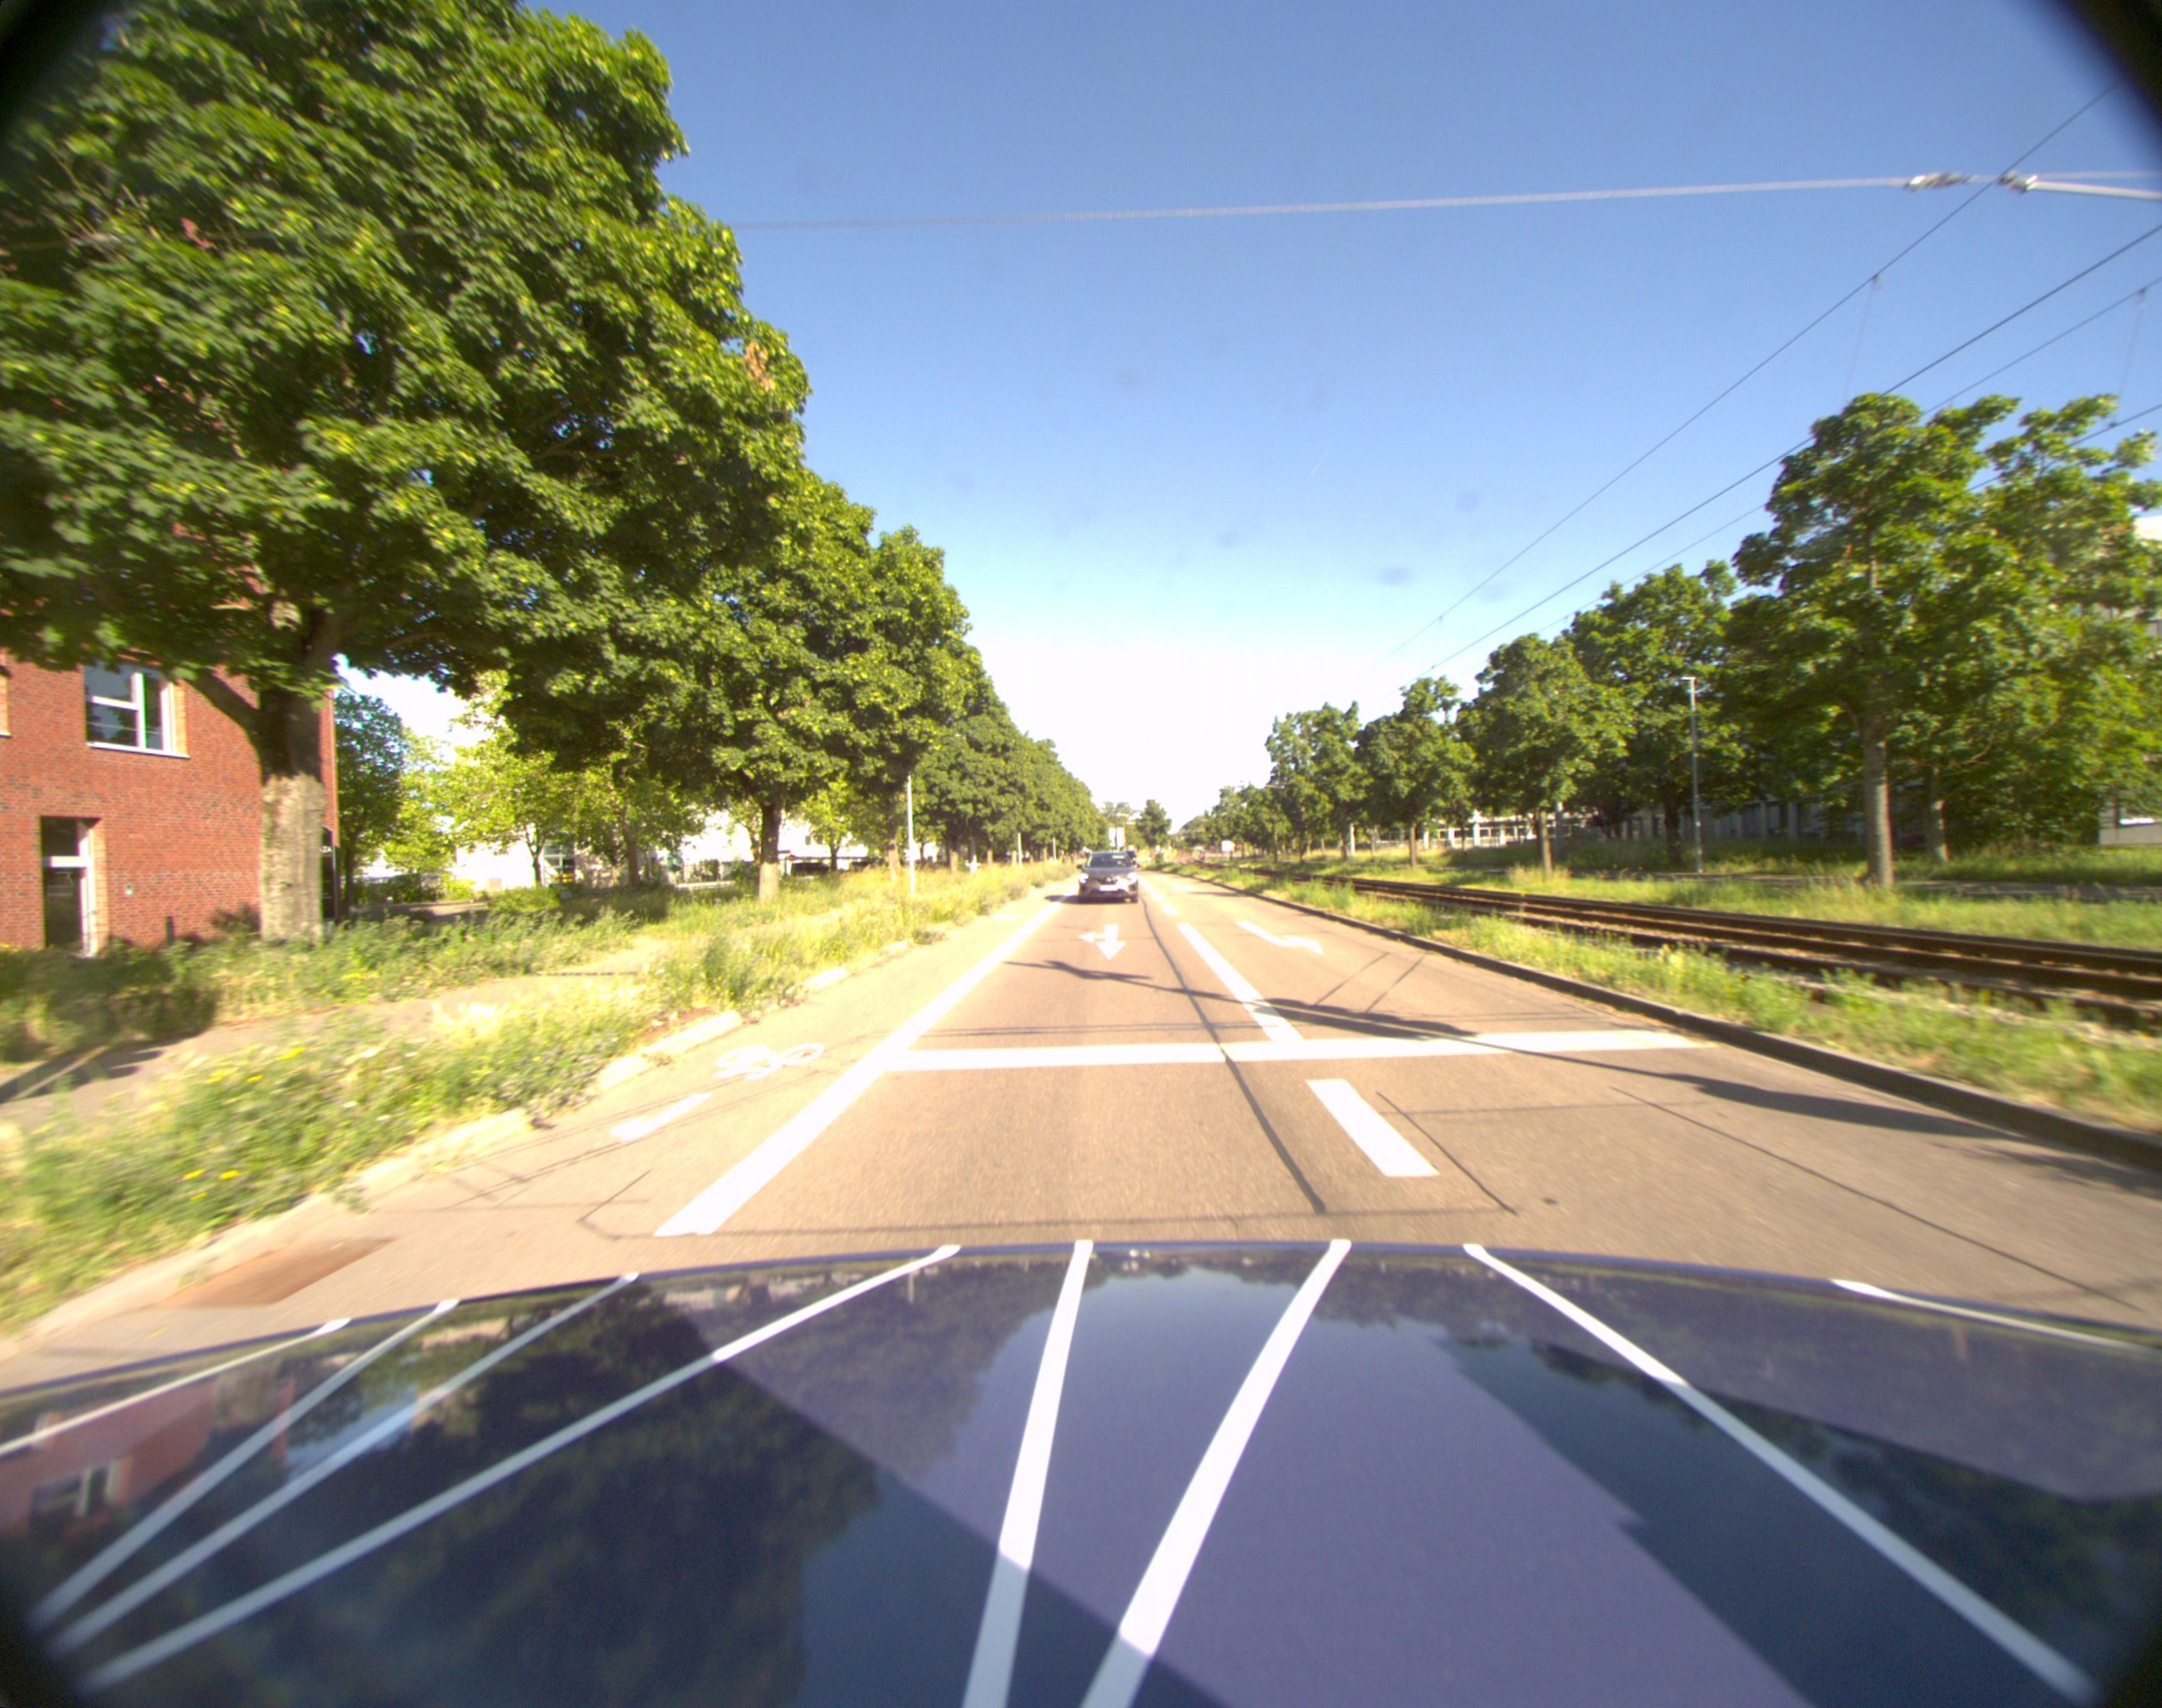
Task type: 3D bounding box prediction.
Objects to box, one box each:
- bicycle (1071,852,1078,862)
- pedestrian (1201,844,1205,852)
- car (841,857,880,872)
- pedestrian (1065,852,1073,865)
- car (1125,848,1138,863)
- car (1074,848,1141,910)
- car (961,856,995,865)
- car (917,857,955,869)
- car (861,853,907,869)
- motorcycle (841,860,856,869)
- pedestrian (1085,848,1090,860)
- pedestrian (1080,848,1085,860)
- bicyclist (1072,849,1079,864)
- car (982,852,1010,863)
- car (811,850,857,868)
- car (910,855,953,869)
[{"bbox_3d":[-0.758,0.358,90.656,0.484,1.197,2.144,-3,1,6],"label":"bicycle"},{"bbox_3d":[27.362,-1.347,170.108,0.785,1.741,0.782,-2,1,6],"label":"pedestrian"},{"bbox_3d":[-30.046,1.404,103.639,4.759,1.938,1.975,-1,0,5],"label":"car"},{"bbox_3d":[-1.443,0.514,89.349,0.826,1.560,0.762,-2,1,6],"label":"pedestrian"},{"bbox_3d":[6.508,0.178,97.438,1.554,1.765,3.458,-1,1,5],"label":"car"},{"bbox_3d":[0.895,0.684,23.184,1.749,1.585,4.247,-2,1,5],"label":"car"},{"bbox_3d":[-15.115,0.993,111.333,4.708,1.263,1.808,-1,-1,3],"label":"car"},{"bbox_3d":[-18.190,1.141,95.447,4.300,1.316,1.942,-1,-1,10],"label":"car"},{"bbox_3d":[-19.398,0.670,74.951,4.038,1.496,1.739,-2,1,6],"label":"car"},{"bbox_3d":[-28.731,1.297,94.005,1.652,0.965,0.538,-2,1,5],"label":"motorcycle"},{"bbox_3d":[1.026,-0.007,117.009,0.710,1.907,0.816,-2,1,-4],"label":"pedestrian"},{"bbox_3d":[0.210,0.016,116.900,0.710,1.919,0.816,-2,1,-2],"label":"pedestrian"},{"bbox_3d":[-0.700,0.306,90.904,0.684,1.710,0.902,-2,2,5],"label":"bicyclist"},{"bbox_3d":[-13.920,0.511,124.416,4.347,1.690,1.765,-1,1,-4],"label":"car"},{"bbox_3d":[-29.115,0.598,89.646,4.594,2.002,1.958,-2,1,7],"label":"car"},{"bbox_3d":[-16.343,0.868,83.337,4.173,1.423,1.825,-2,1,8],"label":"car"}]
